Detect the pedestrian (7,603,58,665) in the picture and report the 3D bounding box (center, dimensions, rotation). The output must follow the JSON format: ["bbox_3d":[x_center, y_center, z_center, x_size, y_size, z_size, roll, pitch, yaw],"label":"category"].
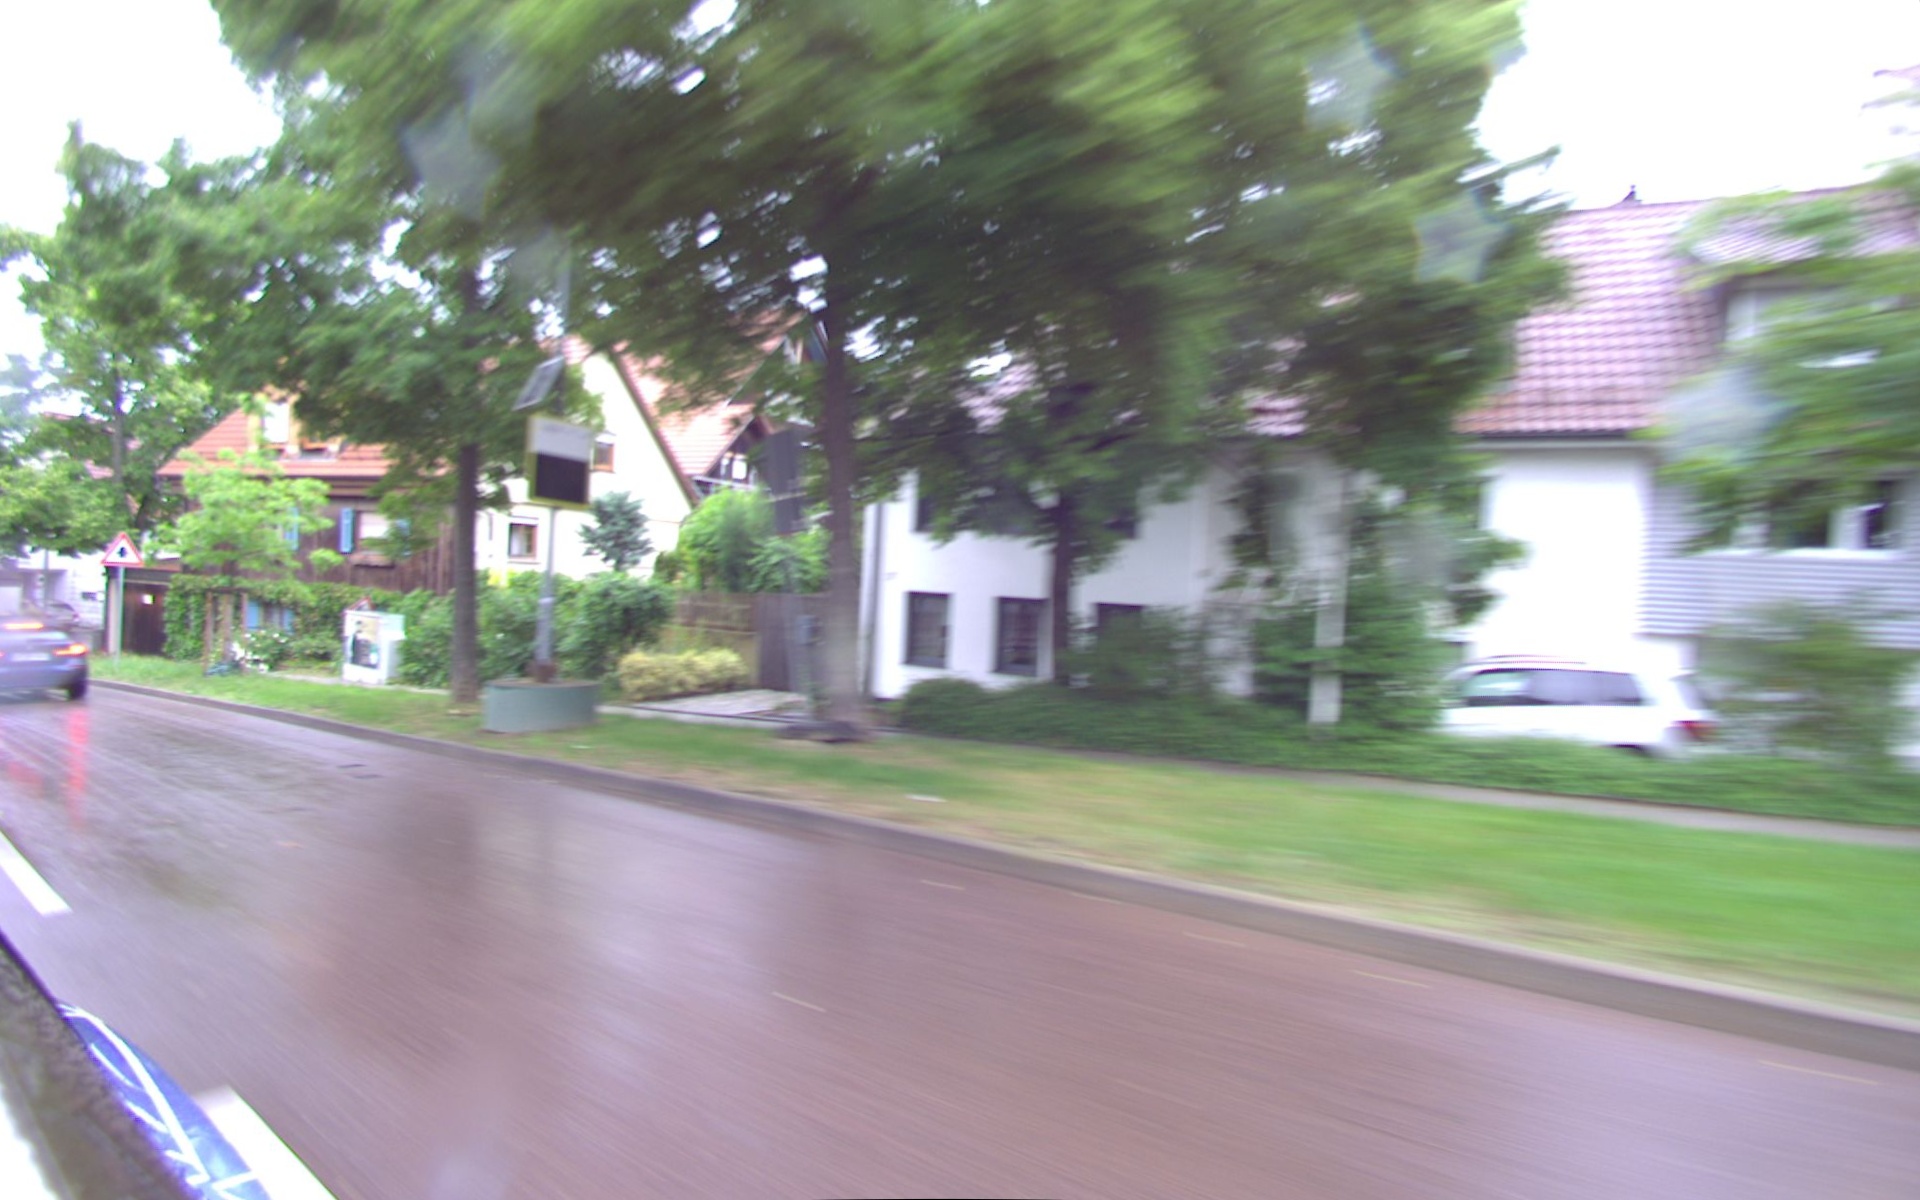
[{"bbox_3d":[-28.197,1.009,30.782,0.892,1.844,0.960,-1,-1,32],"label":"pedestrian"}]

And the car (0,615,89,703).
[{"bbox_3d":[-17.403,1.013,18.241,4.056,1.451,1.749,-1,-1,37],"label":"car"}]

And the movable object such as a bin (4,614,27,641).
[{"bbox_3d":[-40.280,1.171,43.157,0.513,1.132,0.527,-1,-1,15],"label":"movable object such as a bin"}]

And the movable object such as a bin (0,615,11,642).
[{"bbox_3d":[-40.450,1.207,42.608,0.512,1.132,0.543,-1,-1,15],"label":"movable object such as a bin"}]

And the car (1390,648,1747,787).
[{"bbox_3d":[7.113,1.306,12.249,3.428,1.339,1.983,-1,-1,26],"label":"car"}]

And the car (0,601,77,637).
[{"bbox_3d":[-41.980,0.845,45.321,3.961,1.544,1.719,-1,-1,14],"label":"car"}]
